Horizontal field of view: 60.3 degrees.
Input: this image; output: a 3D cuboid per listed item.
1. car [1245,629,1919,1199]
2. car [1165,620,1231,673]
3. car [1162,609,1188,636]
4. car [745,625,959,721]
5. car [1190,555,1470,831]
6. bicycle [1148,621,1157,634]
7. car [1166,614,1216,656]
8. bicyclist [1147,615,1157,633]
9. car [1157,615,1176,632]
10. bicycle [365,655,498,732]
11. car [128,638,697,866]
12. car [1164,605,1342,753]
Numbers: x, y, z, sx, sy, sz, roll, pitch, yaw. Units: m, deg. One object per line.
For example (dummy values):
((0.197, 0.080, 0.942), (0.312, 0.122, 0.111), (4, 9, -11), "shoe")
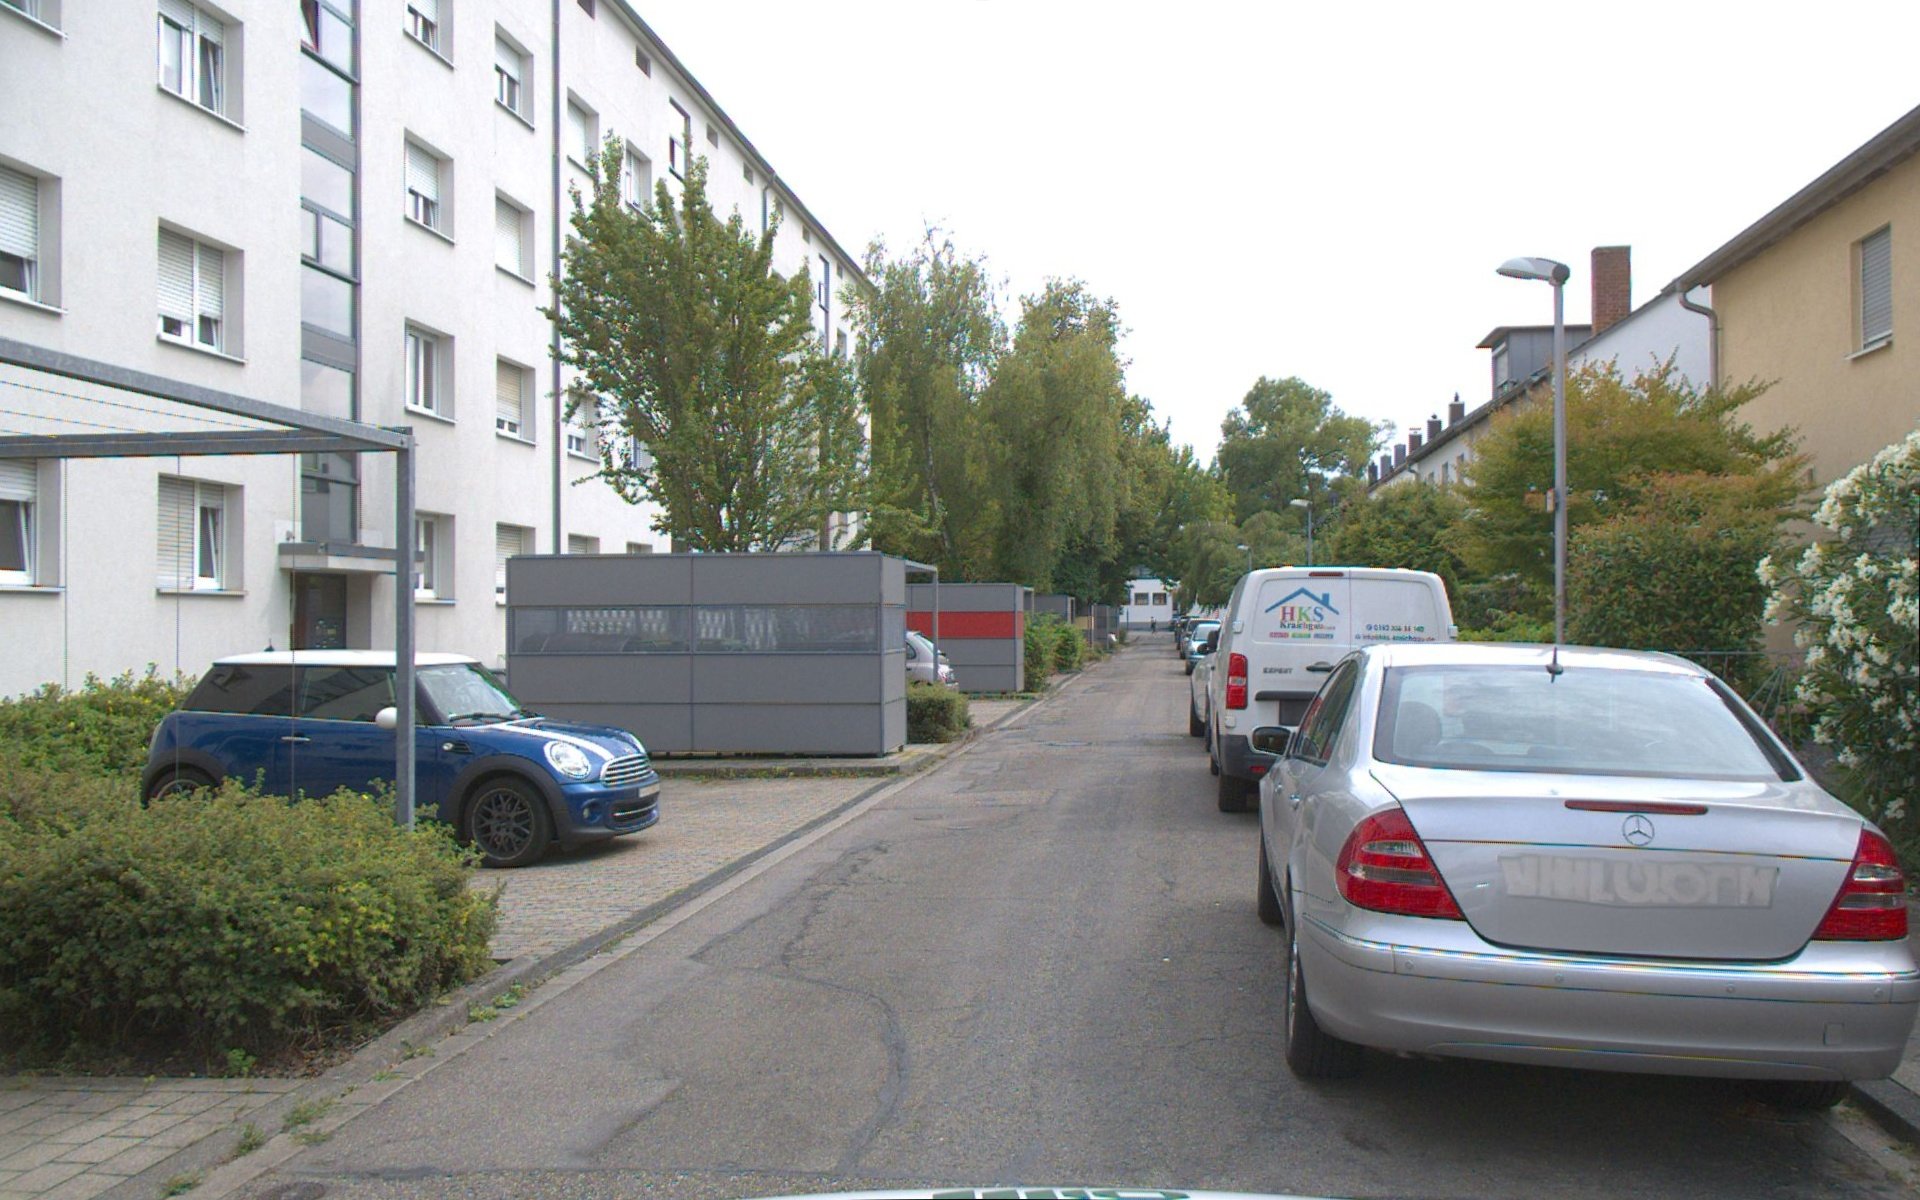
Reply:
((2.063, 0.863, 6.470), (1.745, 1.446, 4.459), (1, -1, 8), "car")
((6.841, 1.296, 47.733), (1.786, 1.394, 4.334), (1, 0, 7), "car")
((15.966, 1.678, 122.801), (1.786, 1.916, 4.003), (1, 0, 7), "car")
((-1.830, 1.236, 28.700), (3.487, 1.506, 1.711), (-2, -1, 2), "car")
((3.090, 0.709, 14.836), (1.863, 1.999, 5.257), (1, -1, 6), "car")
((17.440, 2.511, 150.019), (0.674, 1.151, 2.581), (1, -1, 9), "bicycle")
((9.234, 1.378, 66.356), (1.786, 1.609, 4.002), (1, 0, 6), "car")
((17.423, 2.180, 150.038), (0.781, 1.537, 0.934), (1, -1, 9), "bicyclist")
((20.405, 2.337, 163.611), (1.786, 1.609, 4.003), (1, 0, 7), "car")
((-7.660, 1.346, 24.019), (1.789, 1.042, 0.473), (0, -1, -34), "bicycle")
((-3.913, 1.071, 12.063), (3.557, 1.487, 1.654), (-2, -1, 10), "car")
((3.616, 0.926, 21.025), (1.786, 1.664, 4.164), (1, -1, 4), "car")
